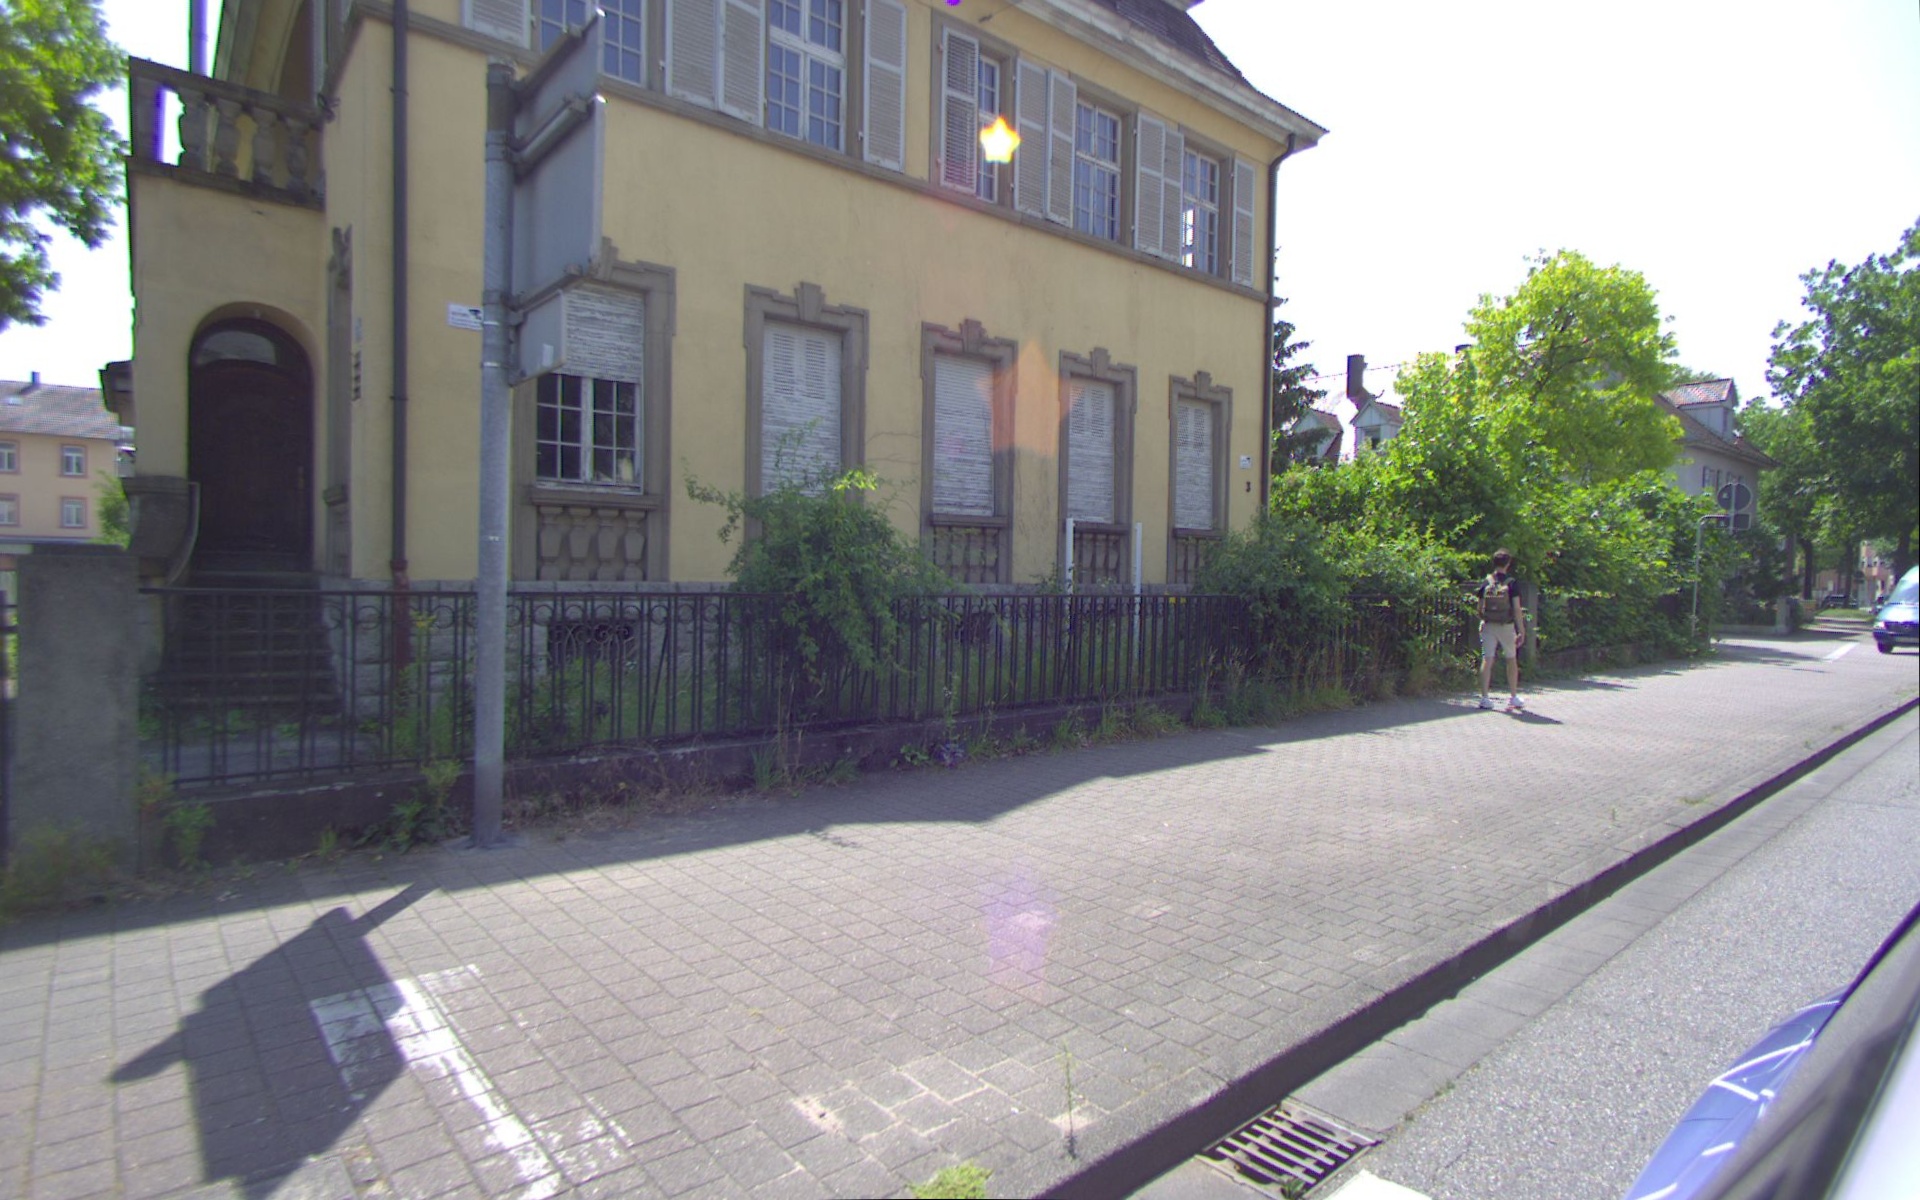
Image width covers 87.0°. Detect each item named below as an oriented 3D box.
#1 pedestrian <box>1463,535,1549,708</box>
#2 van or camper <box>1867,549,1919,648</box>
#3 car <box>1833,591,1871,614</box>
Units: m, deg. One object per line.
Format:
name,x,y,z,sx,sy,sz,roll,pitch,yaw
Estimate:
pedestrian,6.377,0.229,11.824,0.731,1.942,0.620,0,2,-41
van or camper,28.016,-0.007,27.884,5.723,2.613,2.171,0,2,-23
car,68.151,0.140,77.364,1.817,1.705,3.949,0,1,36
